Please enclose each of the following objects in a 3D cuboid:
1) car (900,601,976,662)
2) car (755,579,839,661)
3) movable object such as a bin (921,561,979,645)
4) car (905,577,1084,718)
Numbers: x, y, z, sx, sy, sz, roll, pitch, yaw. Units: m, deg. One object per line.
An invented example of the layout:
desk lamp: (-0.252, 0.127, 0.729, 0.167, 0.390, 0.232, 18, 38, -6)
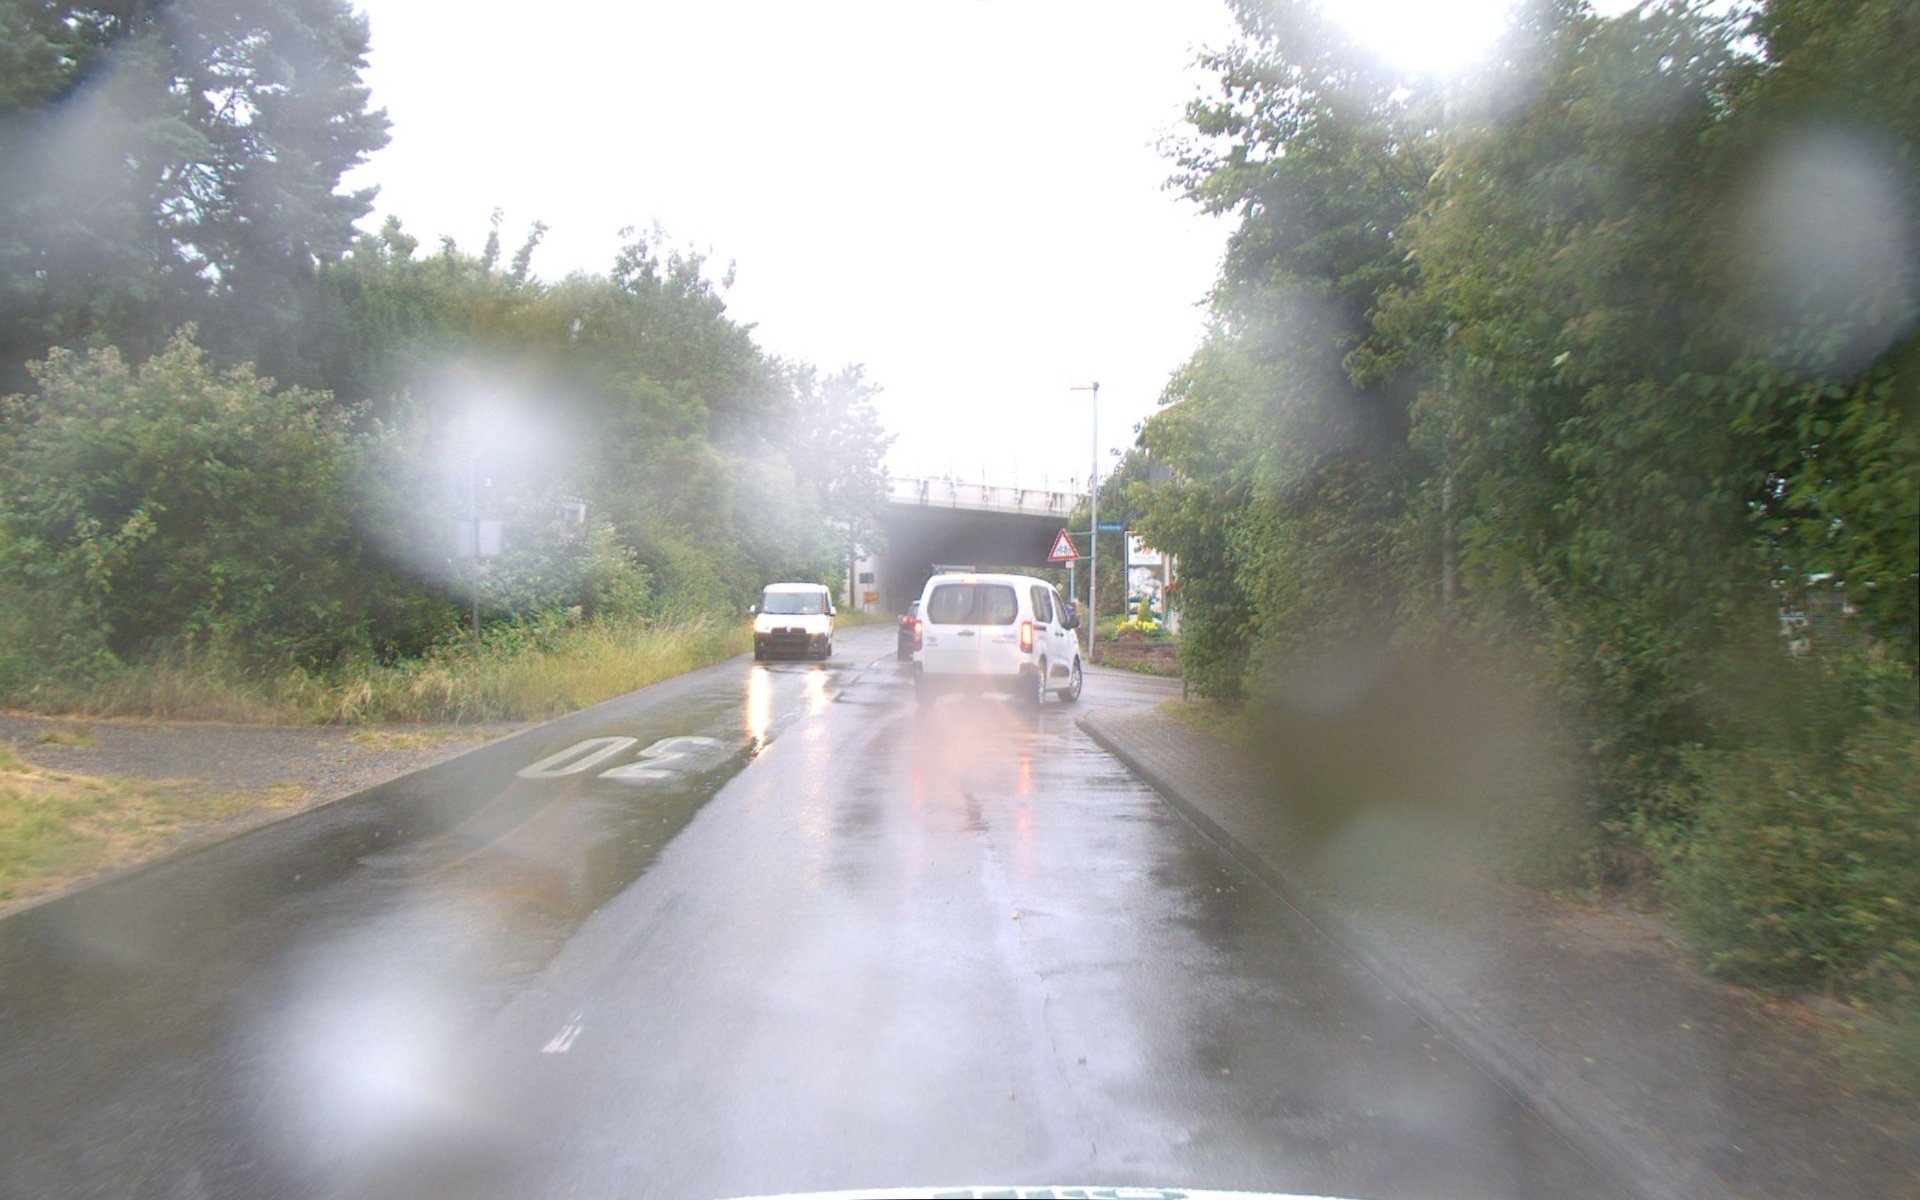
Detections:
car: (-0.496, 0.756, 41.031, 1.673, 1.401, 4.001, 1, 0, 2)
car: (-3.919, 0.461, 40.349, 1.787, 1.864, 4.305, 1, 0, -2)
movable object such as a bin: (-0.287, 0.089, 53.848, 1.725, 2.592, 4.239, 1, 0, 2)
car: (0.591, 0.605, 23.816, 1.856, 1.838, 4.004, -1, 1, 12)
